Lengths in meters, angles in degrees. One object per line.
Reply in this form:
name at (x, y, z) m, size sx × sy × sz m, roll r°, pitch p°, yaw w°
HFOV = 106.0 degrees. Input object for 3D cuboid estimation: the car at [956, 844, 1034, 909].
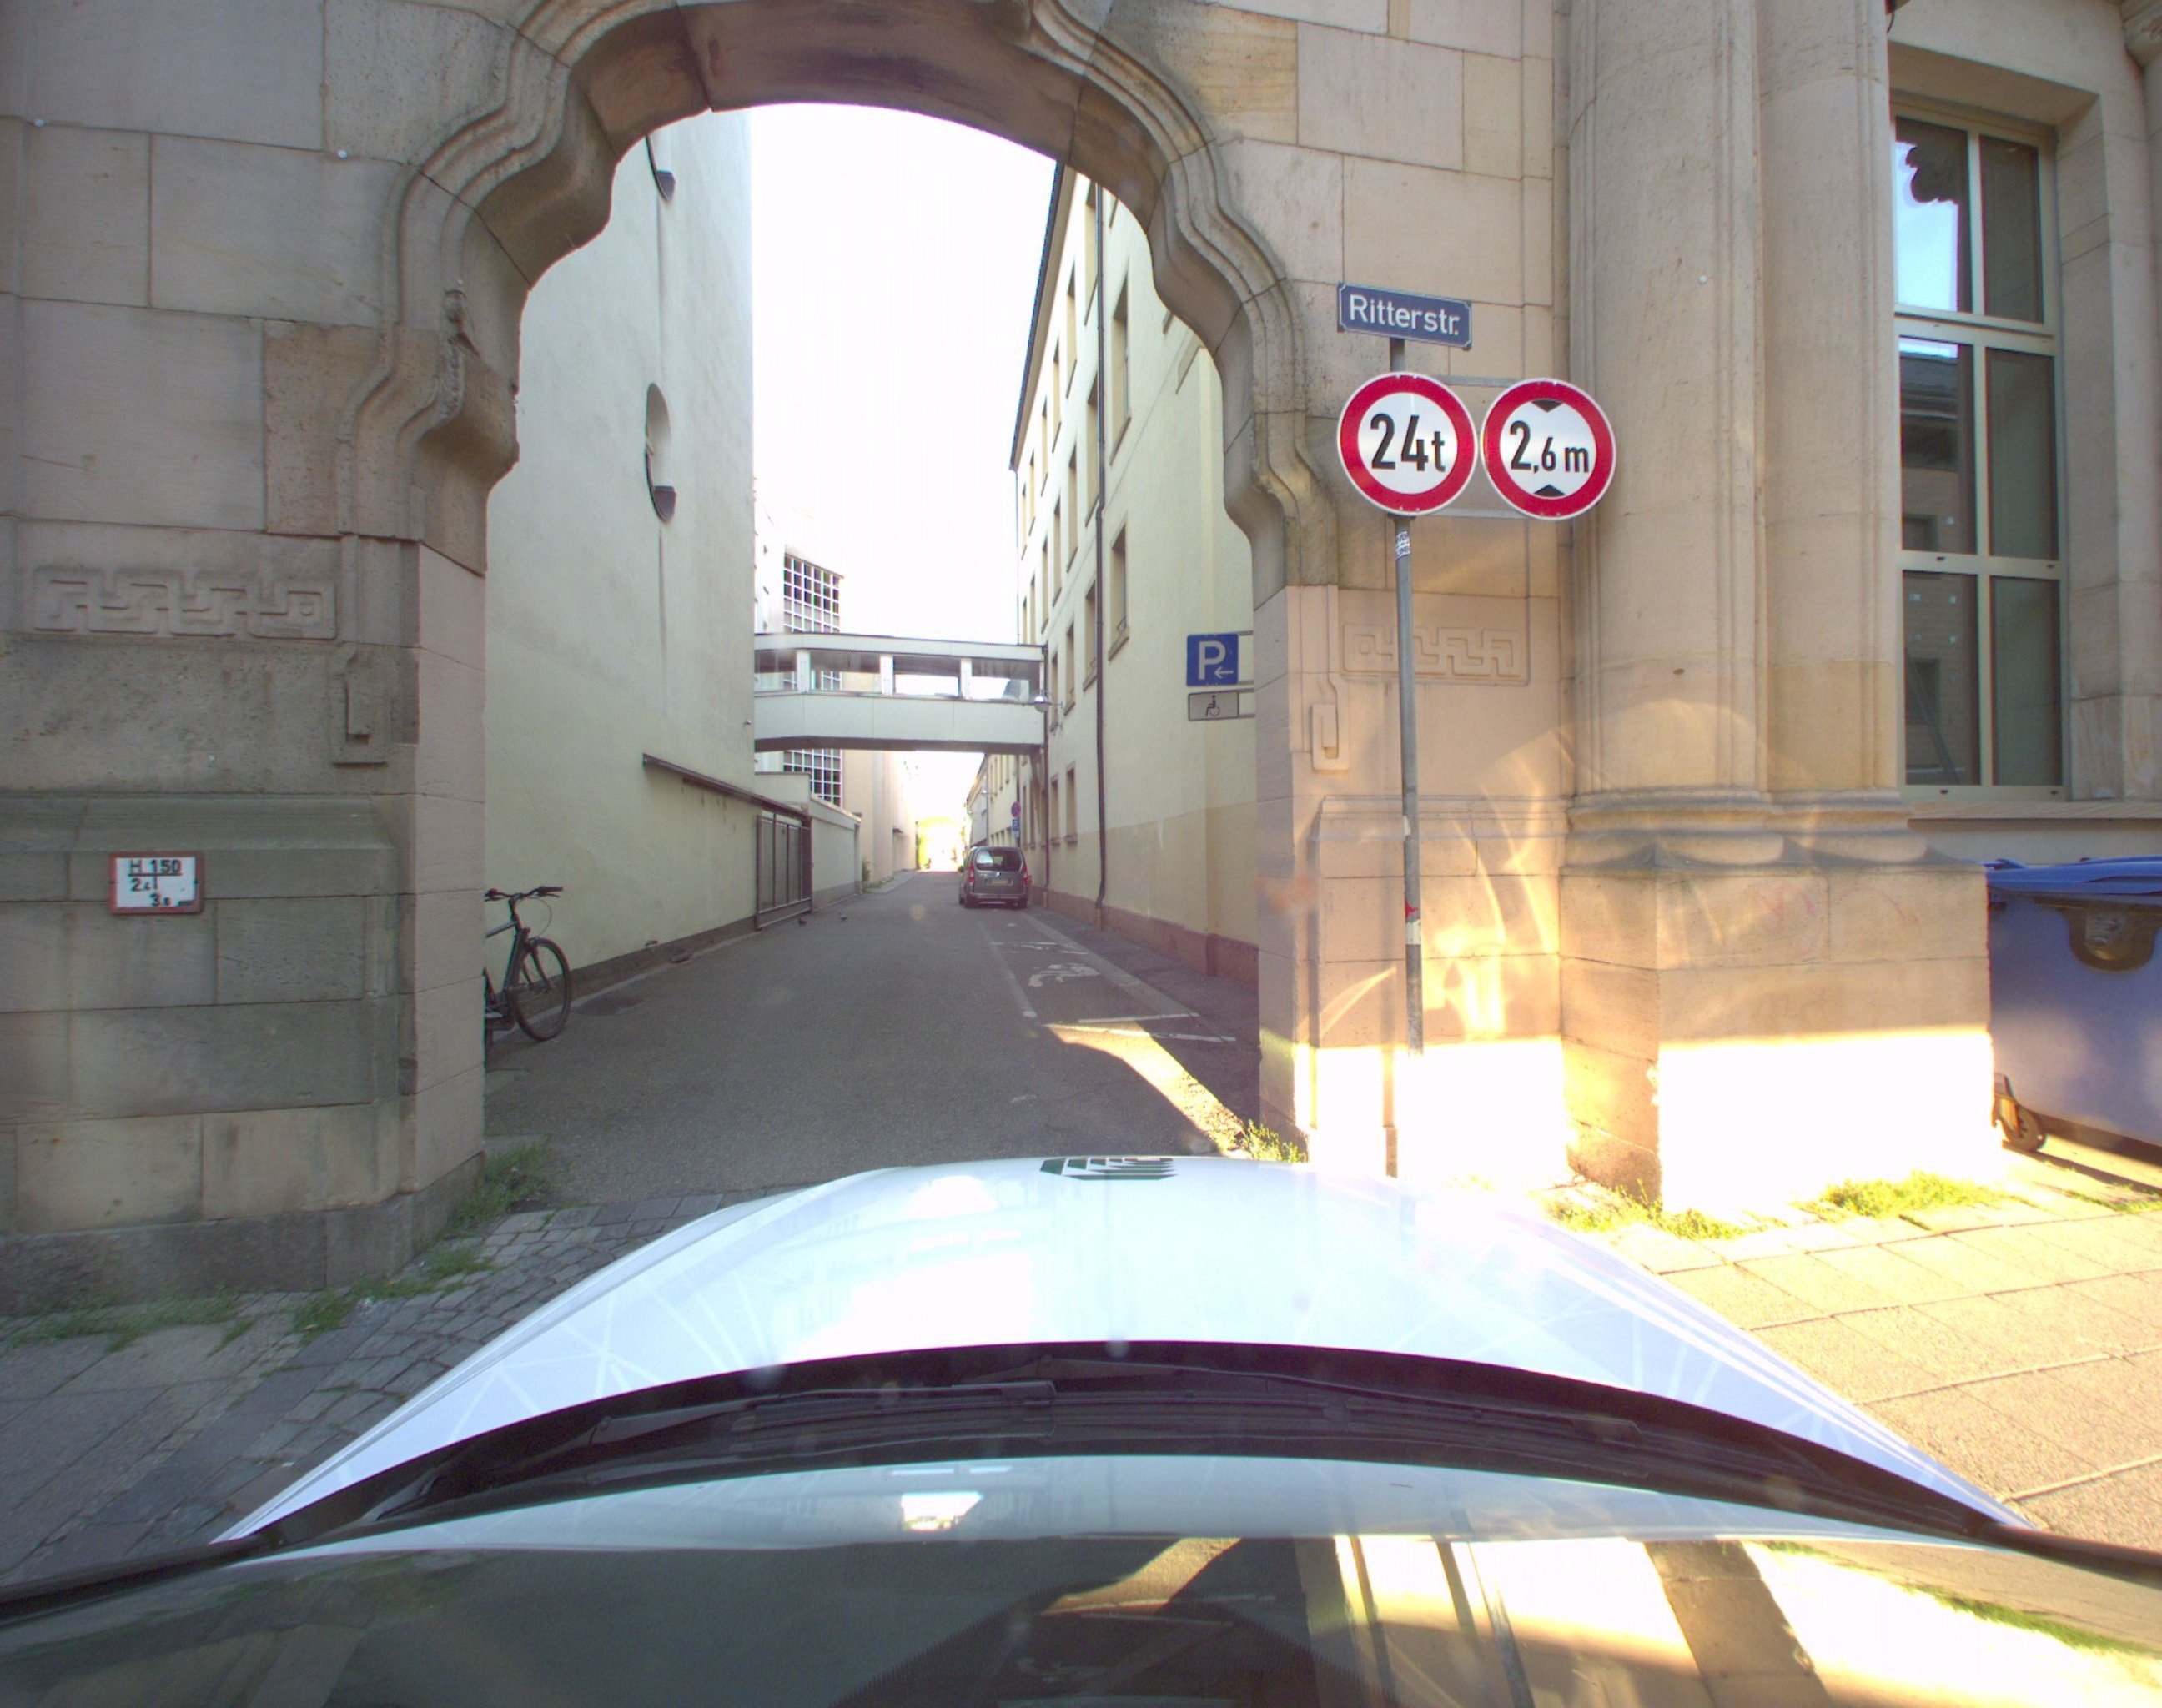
car at (-2.716, 0.647, 24.874) m, size 1.857 × 1.756 × 4.144 m, roll 3°, pitch -1°, yaw -12°

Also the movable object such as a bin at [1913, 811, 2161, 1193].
movable object such as a bin at (4.723, 0.556, 3.519) m, size 1.182 × 1.474 × 1.075 m, roll -1°, pitch 1°, yaw -6°

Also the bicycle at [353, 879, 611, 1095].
bicycle at (-3.681, 0.729, 5.202) m, size 0.595 × 1.079 × 1.750 m, roll 0°, pitch 0°, yaw -10°
